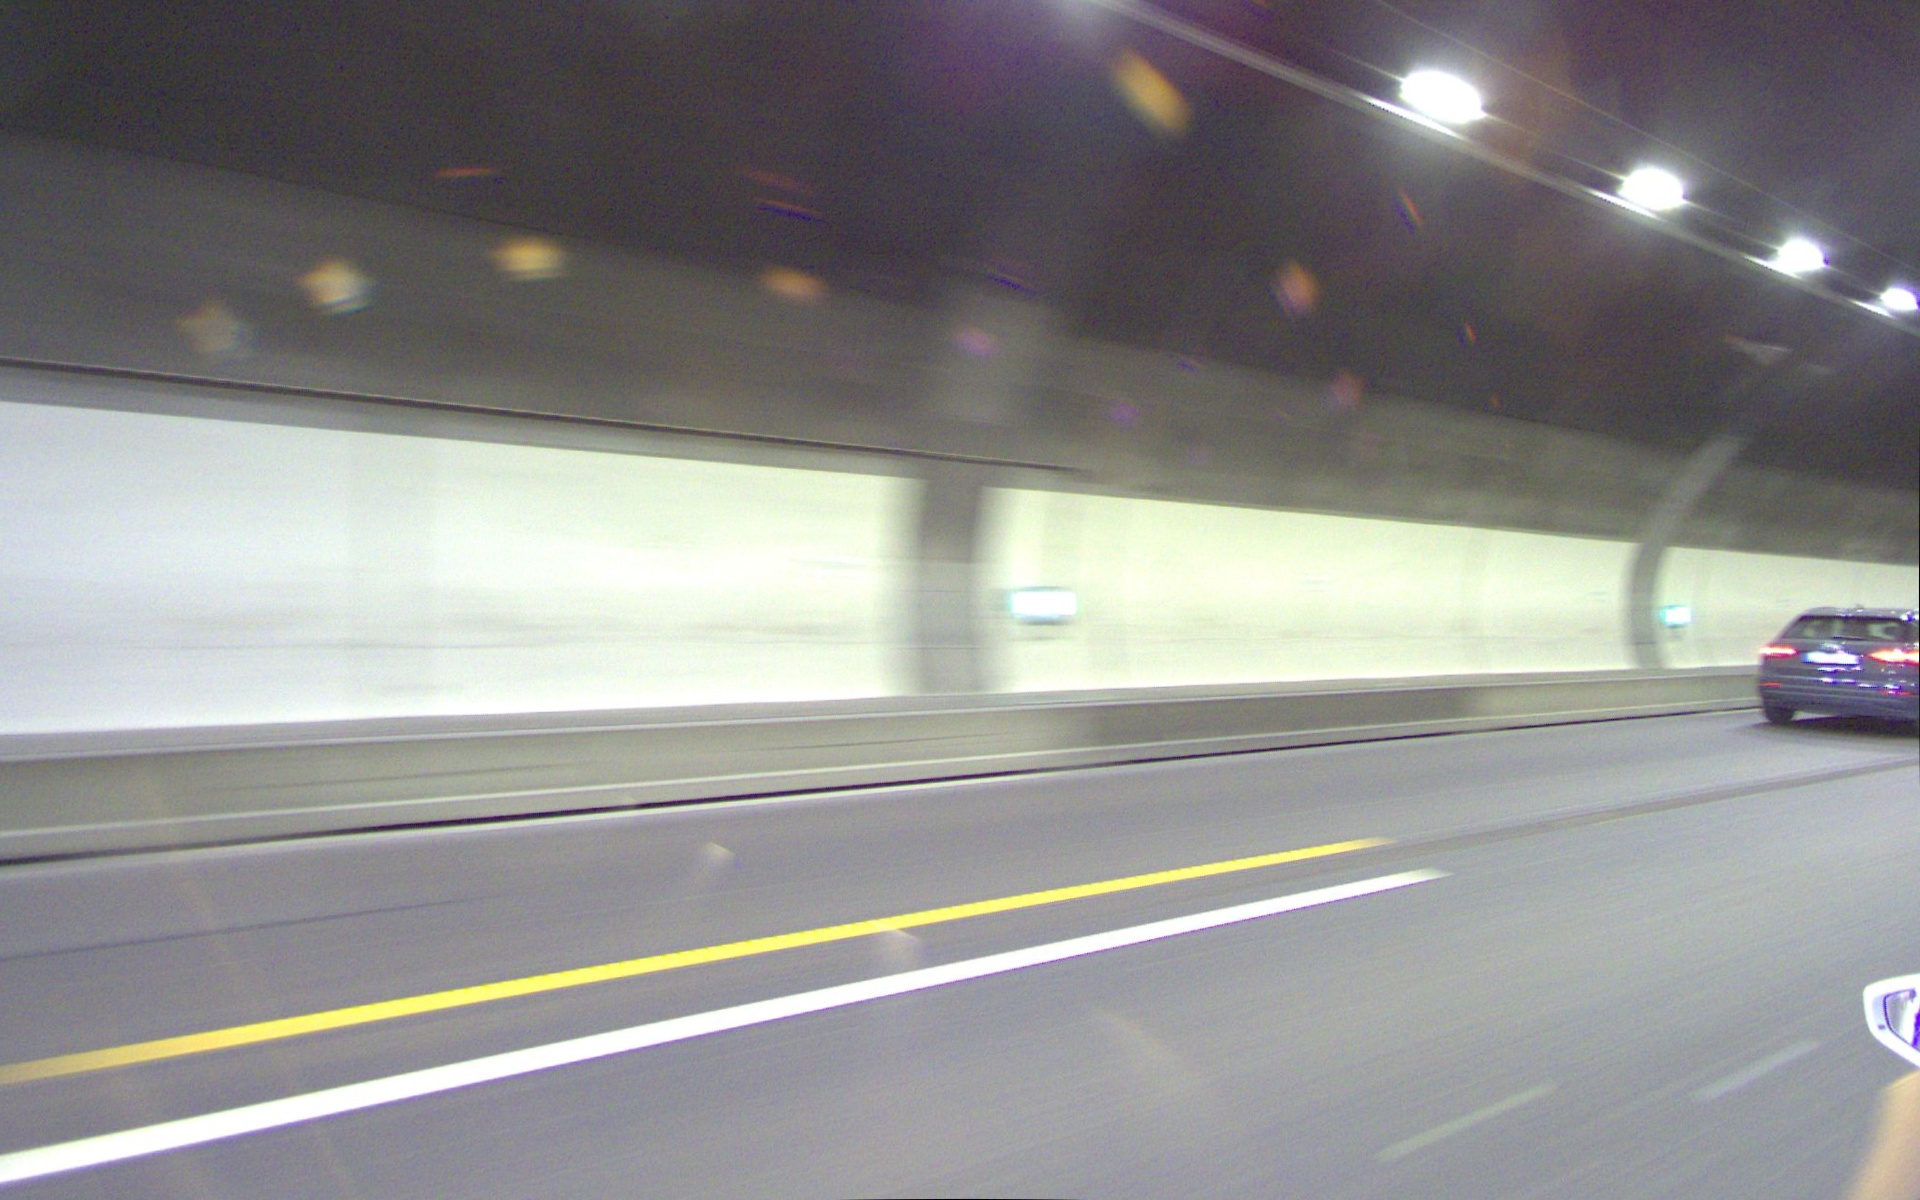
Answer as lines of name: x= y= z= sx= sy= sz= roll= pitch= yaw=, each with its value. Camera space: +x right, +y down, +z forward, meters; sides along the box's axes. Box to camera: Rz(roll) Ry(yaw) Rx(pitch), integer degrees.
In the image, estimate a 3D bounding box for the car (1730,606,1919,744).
car: x=12.582 y=0.903 z=13.447 sx=4.687 sy=1.561 sz=1.984 roll=1 pitch=0 yaw=-30
